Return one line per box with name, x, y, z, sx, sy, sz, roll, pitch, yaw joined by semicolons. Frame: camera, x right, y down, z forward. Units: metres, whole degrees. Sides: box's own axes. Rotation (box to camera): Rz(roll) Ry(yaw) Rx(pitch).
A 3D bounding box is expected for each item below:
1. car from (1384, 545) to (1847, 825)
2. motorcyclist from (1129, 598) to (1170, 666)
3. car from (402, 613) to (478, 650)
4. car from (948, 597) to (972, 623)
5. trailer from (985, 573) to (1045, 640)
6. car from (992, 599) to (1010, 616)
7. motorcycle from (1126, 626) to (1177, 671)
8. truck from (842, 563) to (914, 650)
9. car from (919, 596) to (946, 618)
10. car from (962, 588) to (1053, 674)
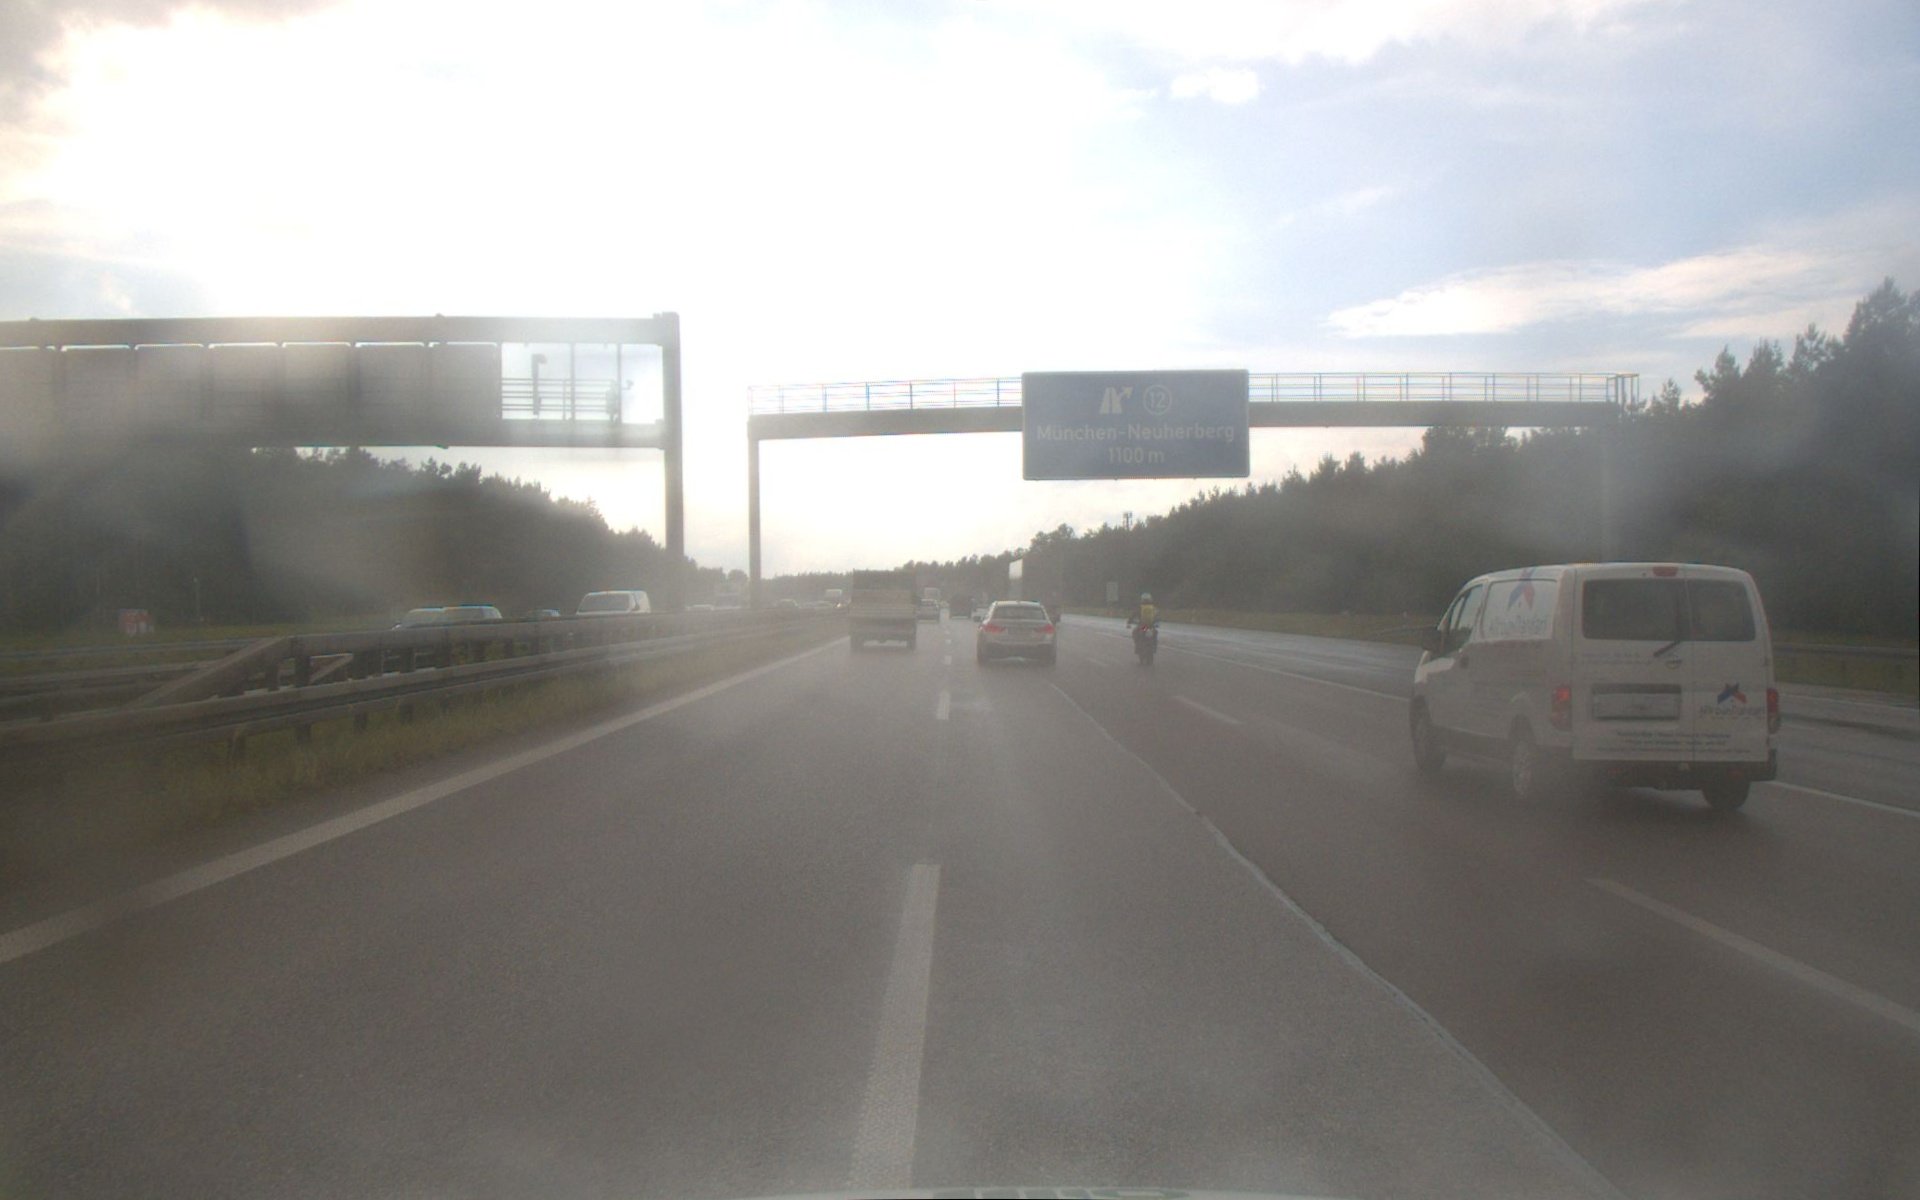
car;5.180;0.593;13.916;1.923;1.935;4.880;0;0;-1
motorcyclist;4.692;0.788;41.038;0.873;1.643;0.958;0;-1;-1
car;-18.764;1.108;59.861;1.592;1.280;3.840;0;0;-1
car;-0.015;0.811;136.880;1.869;2.049;3.998;1;0;-2
trailer;3.464;0.453;107.709;2.278;4.072;13.397;0;0;-5
car;4.985;0.946;203.221;1.953;2.049;3.998;2;0;-2
motorcycle;4.711;1.178;40.927;0.979;1.049;2.173;0;0;-1
truck;-2.517;0.205;51.008;2.094;2.533;5.310;0;0;-3
car;-1.874;0.475;112.993;1.794;1.492;3.999;1;0;-1
car;1.166;0.692;40.096;2.035;1.918;5.012;1;0;2
